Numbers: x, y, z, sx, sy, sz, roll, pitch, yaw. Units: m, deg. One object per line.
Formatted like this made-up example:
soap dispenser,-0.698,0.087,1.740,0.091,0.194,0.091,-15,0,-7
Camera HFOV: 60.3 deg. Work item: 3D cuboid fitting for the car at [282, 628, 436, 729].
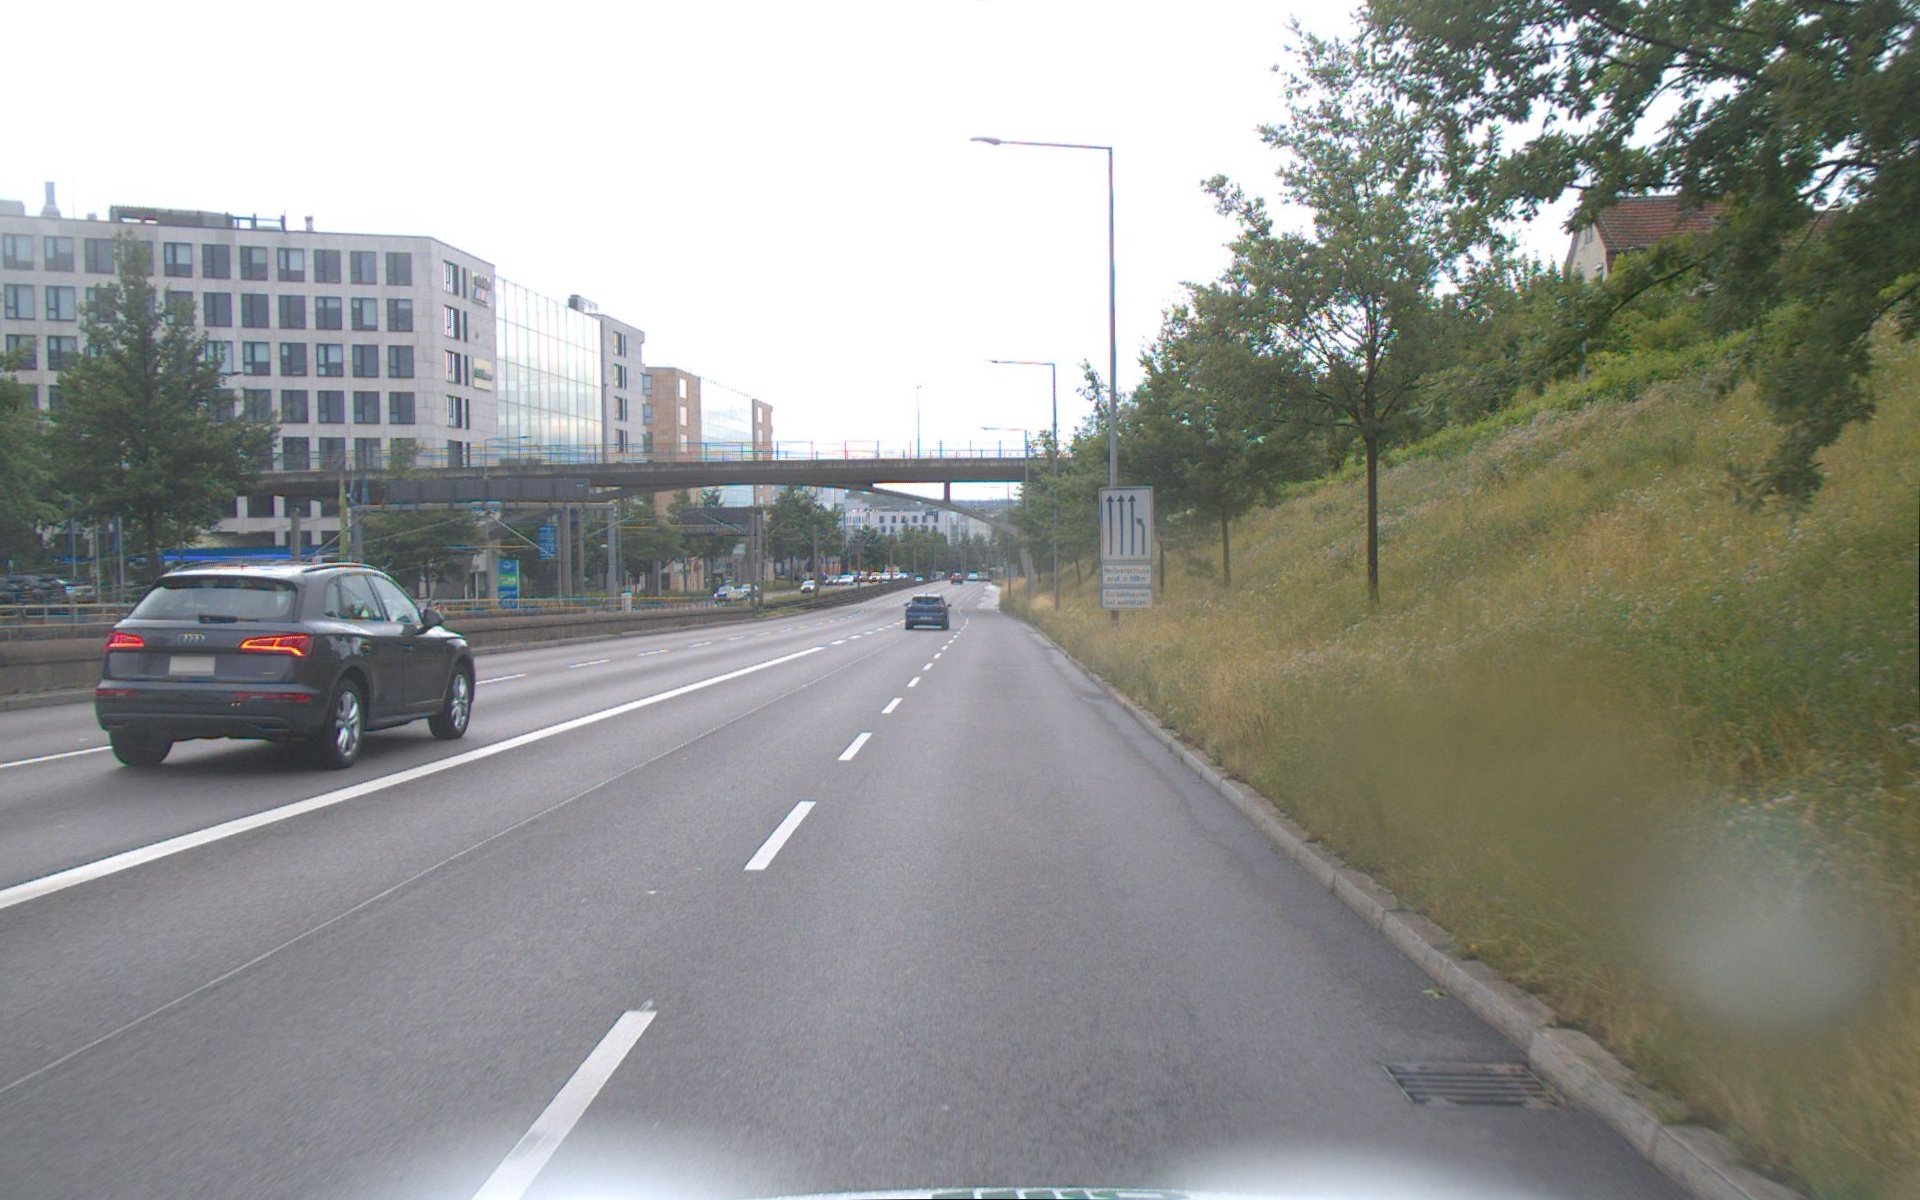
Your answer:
car,-12.672,1.608,35.137,1.911,1.690,4.000,1,3,-2

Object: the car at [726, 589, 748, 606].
car,-19.845,-0.207,147.197,1.486,1.445,3.479,0,1,1

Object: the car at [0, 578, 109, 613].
car,-40.036,-0.209,73.090,3.904,1.377,1.850,2,1,3

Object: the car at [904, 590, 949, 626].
car,-1.367,0.323,68.725,1.713,1.445,3.479,-1,0,1

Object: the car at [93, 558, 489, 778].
car,-5.704,0.511,14.812,1.715,1.645,4.747,0,0,-2

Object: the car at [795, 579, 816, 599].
car,-18.090,-1.317,193.685,1.953,2.048,4.001,1,3,0

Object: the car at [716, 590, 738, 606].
car,-22.253,-0.192,157.975,1.486,1.445,3.479,0,1,1

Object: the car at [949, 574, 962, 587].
car,-0.679,-3.069,254.253,1.825,1.780,4.000,1,3,-3

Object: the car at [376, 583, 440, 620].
car,-28.522,0.084,85.570,1.953,1.808,4.102,1,0,-1

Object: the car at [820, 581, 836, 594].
car,-20.169,-1.953,252.771,1.952,1.765,4.251,2,3,2

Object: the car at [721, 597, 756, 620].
car,-14.210,0.534,106.250,1.713,1.445,3.478,1,0,1

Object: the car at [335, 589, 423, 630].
car,-24.047,0.366,68.559,1.951,1.612,4.002,-1,1,5

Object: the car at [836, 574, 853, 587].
car,-17.362,-2.902,248.691,1.952,1.765,4.251,2,3,2
